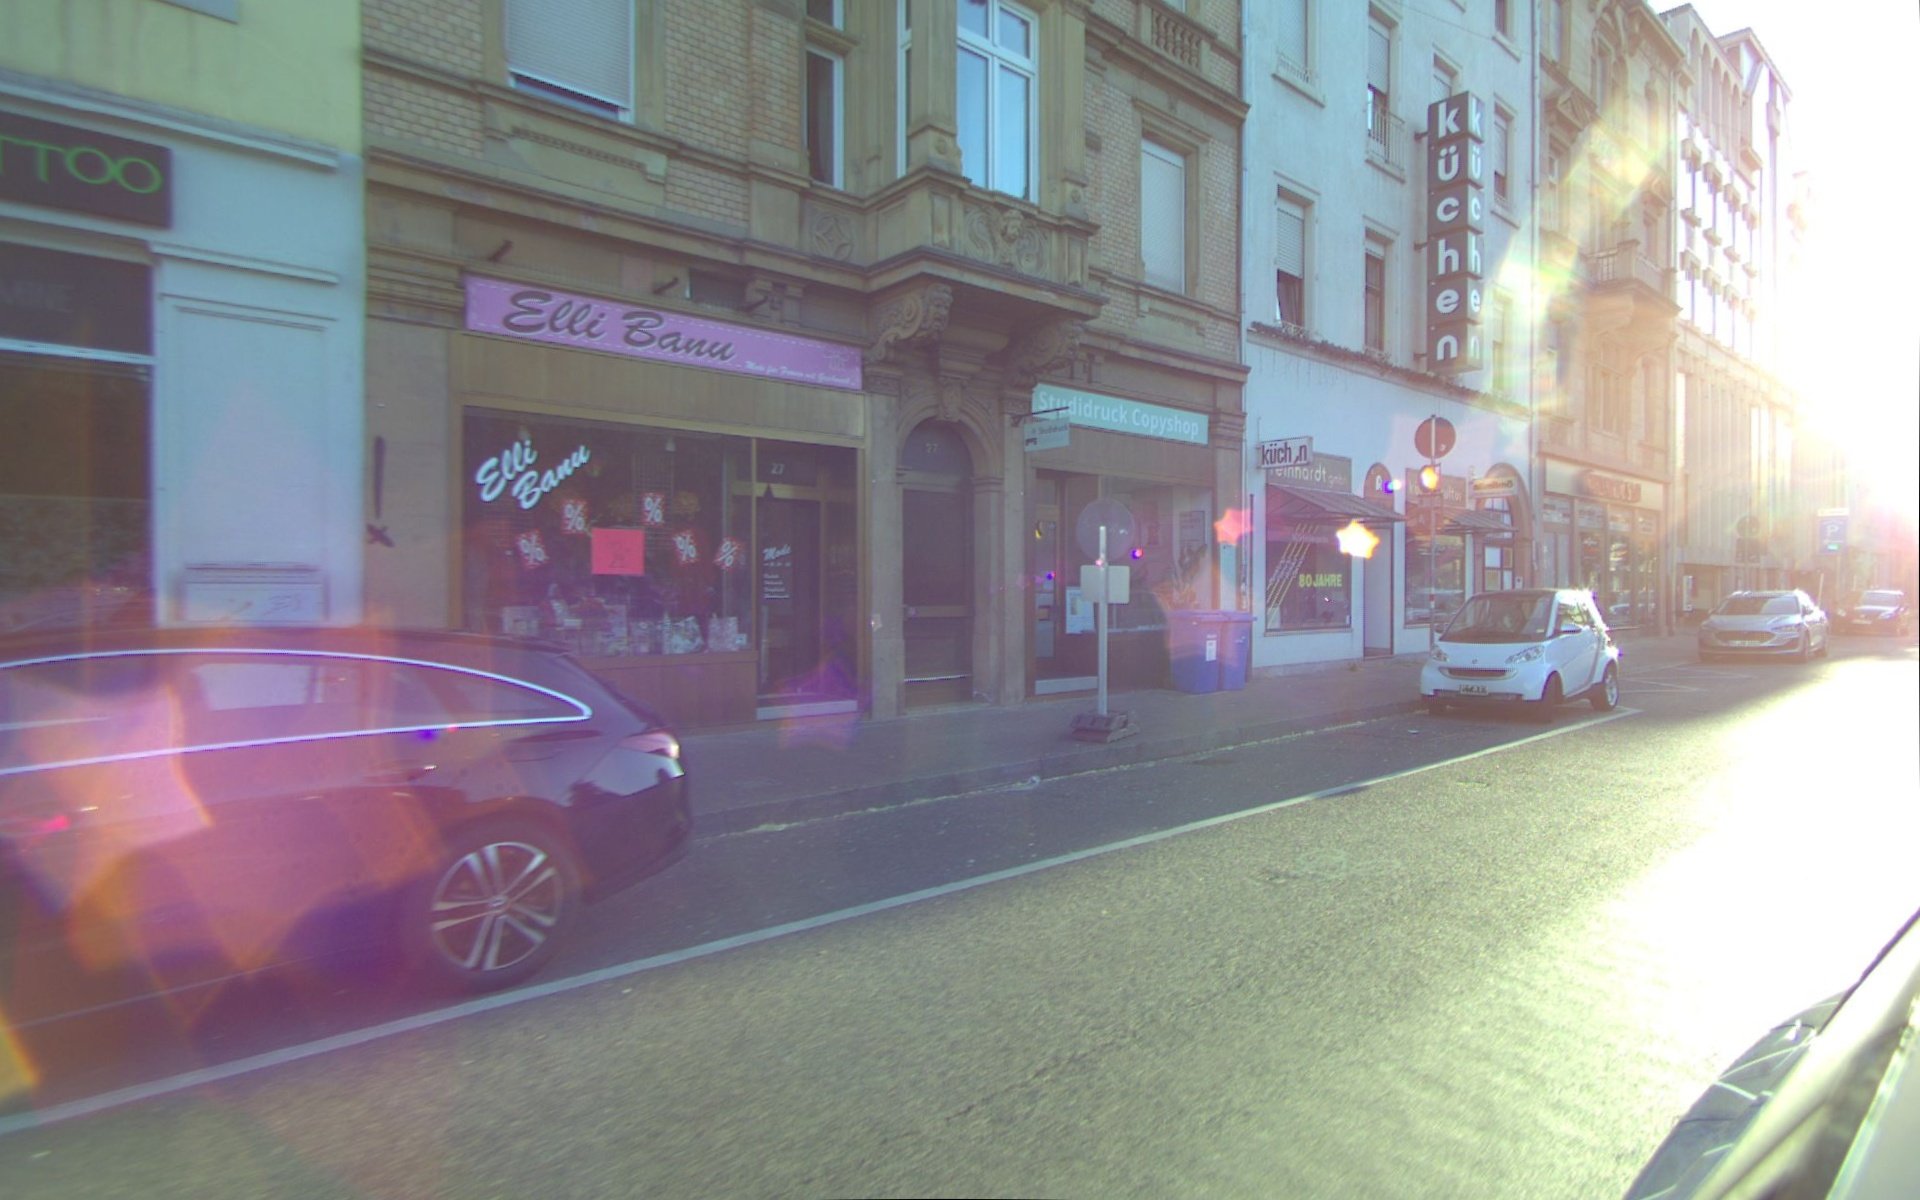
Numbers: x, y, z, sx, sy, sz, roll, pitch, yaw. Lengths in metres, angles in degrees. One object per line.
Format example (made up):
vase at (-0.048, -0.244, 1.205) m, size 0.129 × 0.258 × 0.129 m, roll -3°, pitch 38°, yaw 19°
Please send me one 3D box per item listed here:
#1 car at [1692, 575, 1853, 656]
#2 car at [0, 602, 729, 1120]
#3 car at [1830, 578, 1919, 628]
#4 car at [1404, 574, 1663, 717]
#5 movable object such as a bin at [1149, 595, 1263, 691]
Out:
car at (17.575, 0.310, 21.817) m, size 4.601 × 1.554 × 1.996 m, roll 1°, pitch 0°, yaw -42°
car at (-3.461, 0.769, 3.639) m, size 4.765 × 1.452 × 1.997 m, roll -1°, pitch 0°, yaw -40°
car at (30.842, 0.081, 33.885) m, size 3.929 × 1.539 × 1.998 m, roll 0°, pitch 1°, yaw -40°
car at (7.587, 0.518, 13.247) m, size 3.928 × 1.605 × 1.703 m, roll 1°, pitch 0°, yaw -40°
movable object such as a bin at (3.323, 0.541, 13.668) m, size 1.374 × 1.201 × 0.868 m, roll -1°, pitch 1°, yaw -41°
